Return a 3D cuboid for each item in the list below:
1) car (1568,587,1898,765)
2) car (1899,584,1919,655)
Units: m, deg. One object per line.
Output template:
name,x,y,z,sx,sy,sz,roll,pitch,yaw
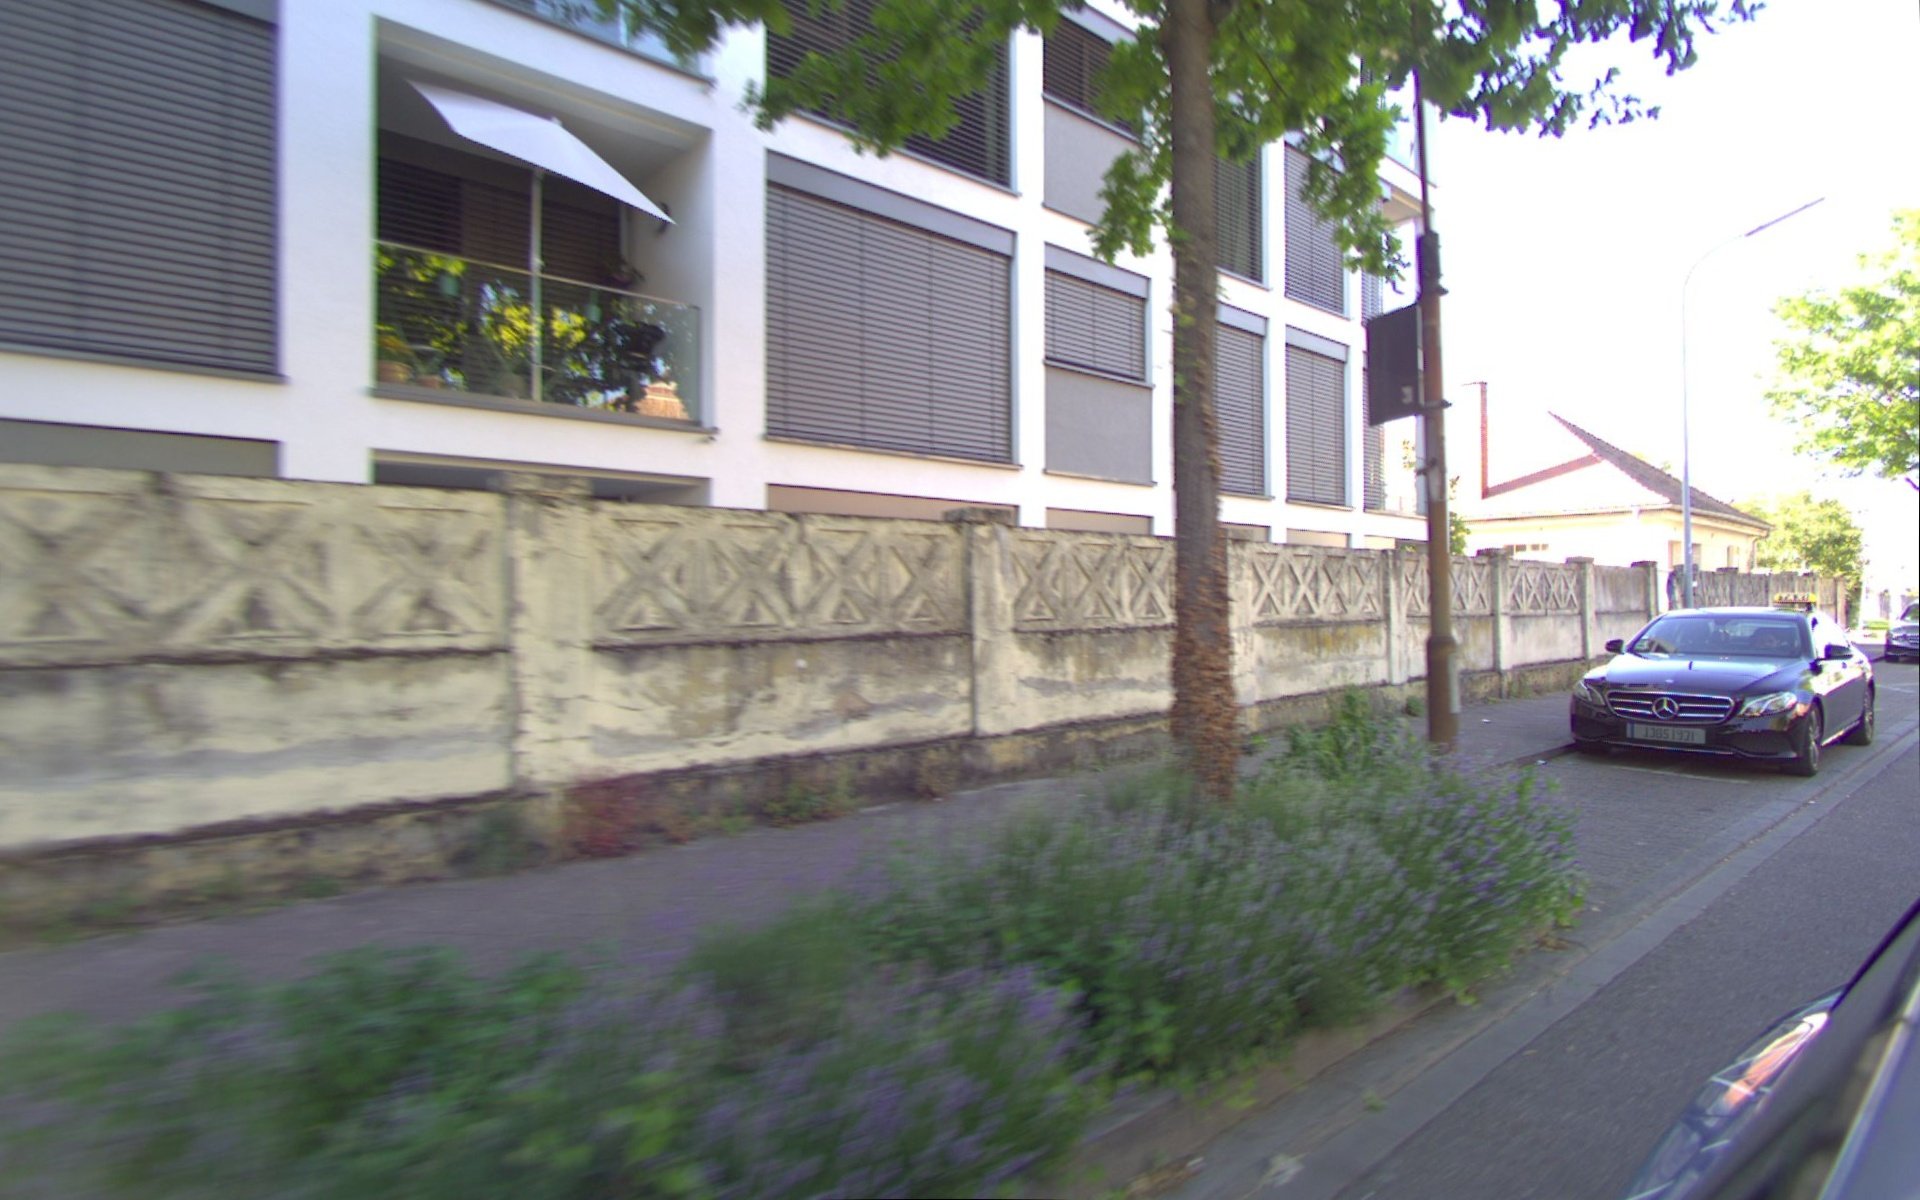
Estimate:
car,8.015,0.621,10.314,4.679,1.429,1.723,0,-1,-41
car,23.737,0.439,24.038,4.227,1.621,1.884,0,0,-44
